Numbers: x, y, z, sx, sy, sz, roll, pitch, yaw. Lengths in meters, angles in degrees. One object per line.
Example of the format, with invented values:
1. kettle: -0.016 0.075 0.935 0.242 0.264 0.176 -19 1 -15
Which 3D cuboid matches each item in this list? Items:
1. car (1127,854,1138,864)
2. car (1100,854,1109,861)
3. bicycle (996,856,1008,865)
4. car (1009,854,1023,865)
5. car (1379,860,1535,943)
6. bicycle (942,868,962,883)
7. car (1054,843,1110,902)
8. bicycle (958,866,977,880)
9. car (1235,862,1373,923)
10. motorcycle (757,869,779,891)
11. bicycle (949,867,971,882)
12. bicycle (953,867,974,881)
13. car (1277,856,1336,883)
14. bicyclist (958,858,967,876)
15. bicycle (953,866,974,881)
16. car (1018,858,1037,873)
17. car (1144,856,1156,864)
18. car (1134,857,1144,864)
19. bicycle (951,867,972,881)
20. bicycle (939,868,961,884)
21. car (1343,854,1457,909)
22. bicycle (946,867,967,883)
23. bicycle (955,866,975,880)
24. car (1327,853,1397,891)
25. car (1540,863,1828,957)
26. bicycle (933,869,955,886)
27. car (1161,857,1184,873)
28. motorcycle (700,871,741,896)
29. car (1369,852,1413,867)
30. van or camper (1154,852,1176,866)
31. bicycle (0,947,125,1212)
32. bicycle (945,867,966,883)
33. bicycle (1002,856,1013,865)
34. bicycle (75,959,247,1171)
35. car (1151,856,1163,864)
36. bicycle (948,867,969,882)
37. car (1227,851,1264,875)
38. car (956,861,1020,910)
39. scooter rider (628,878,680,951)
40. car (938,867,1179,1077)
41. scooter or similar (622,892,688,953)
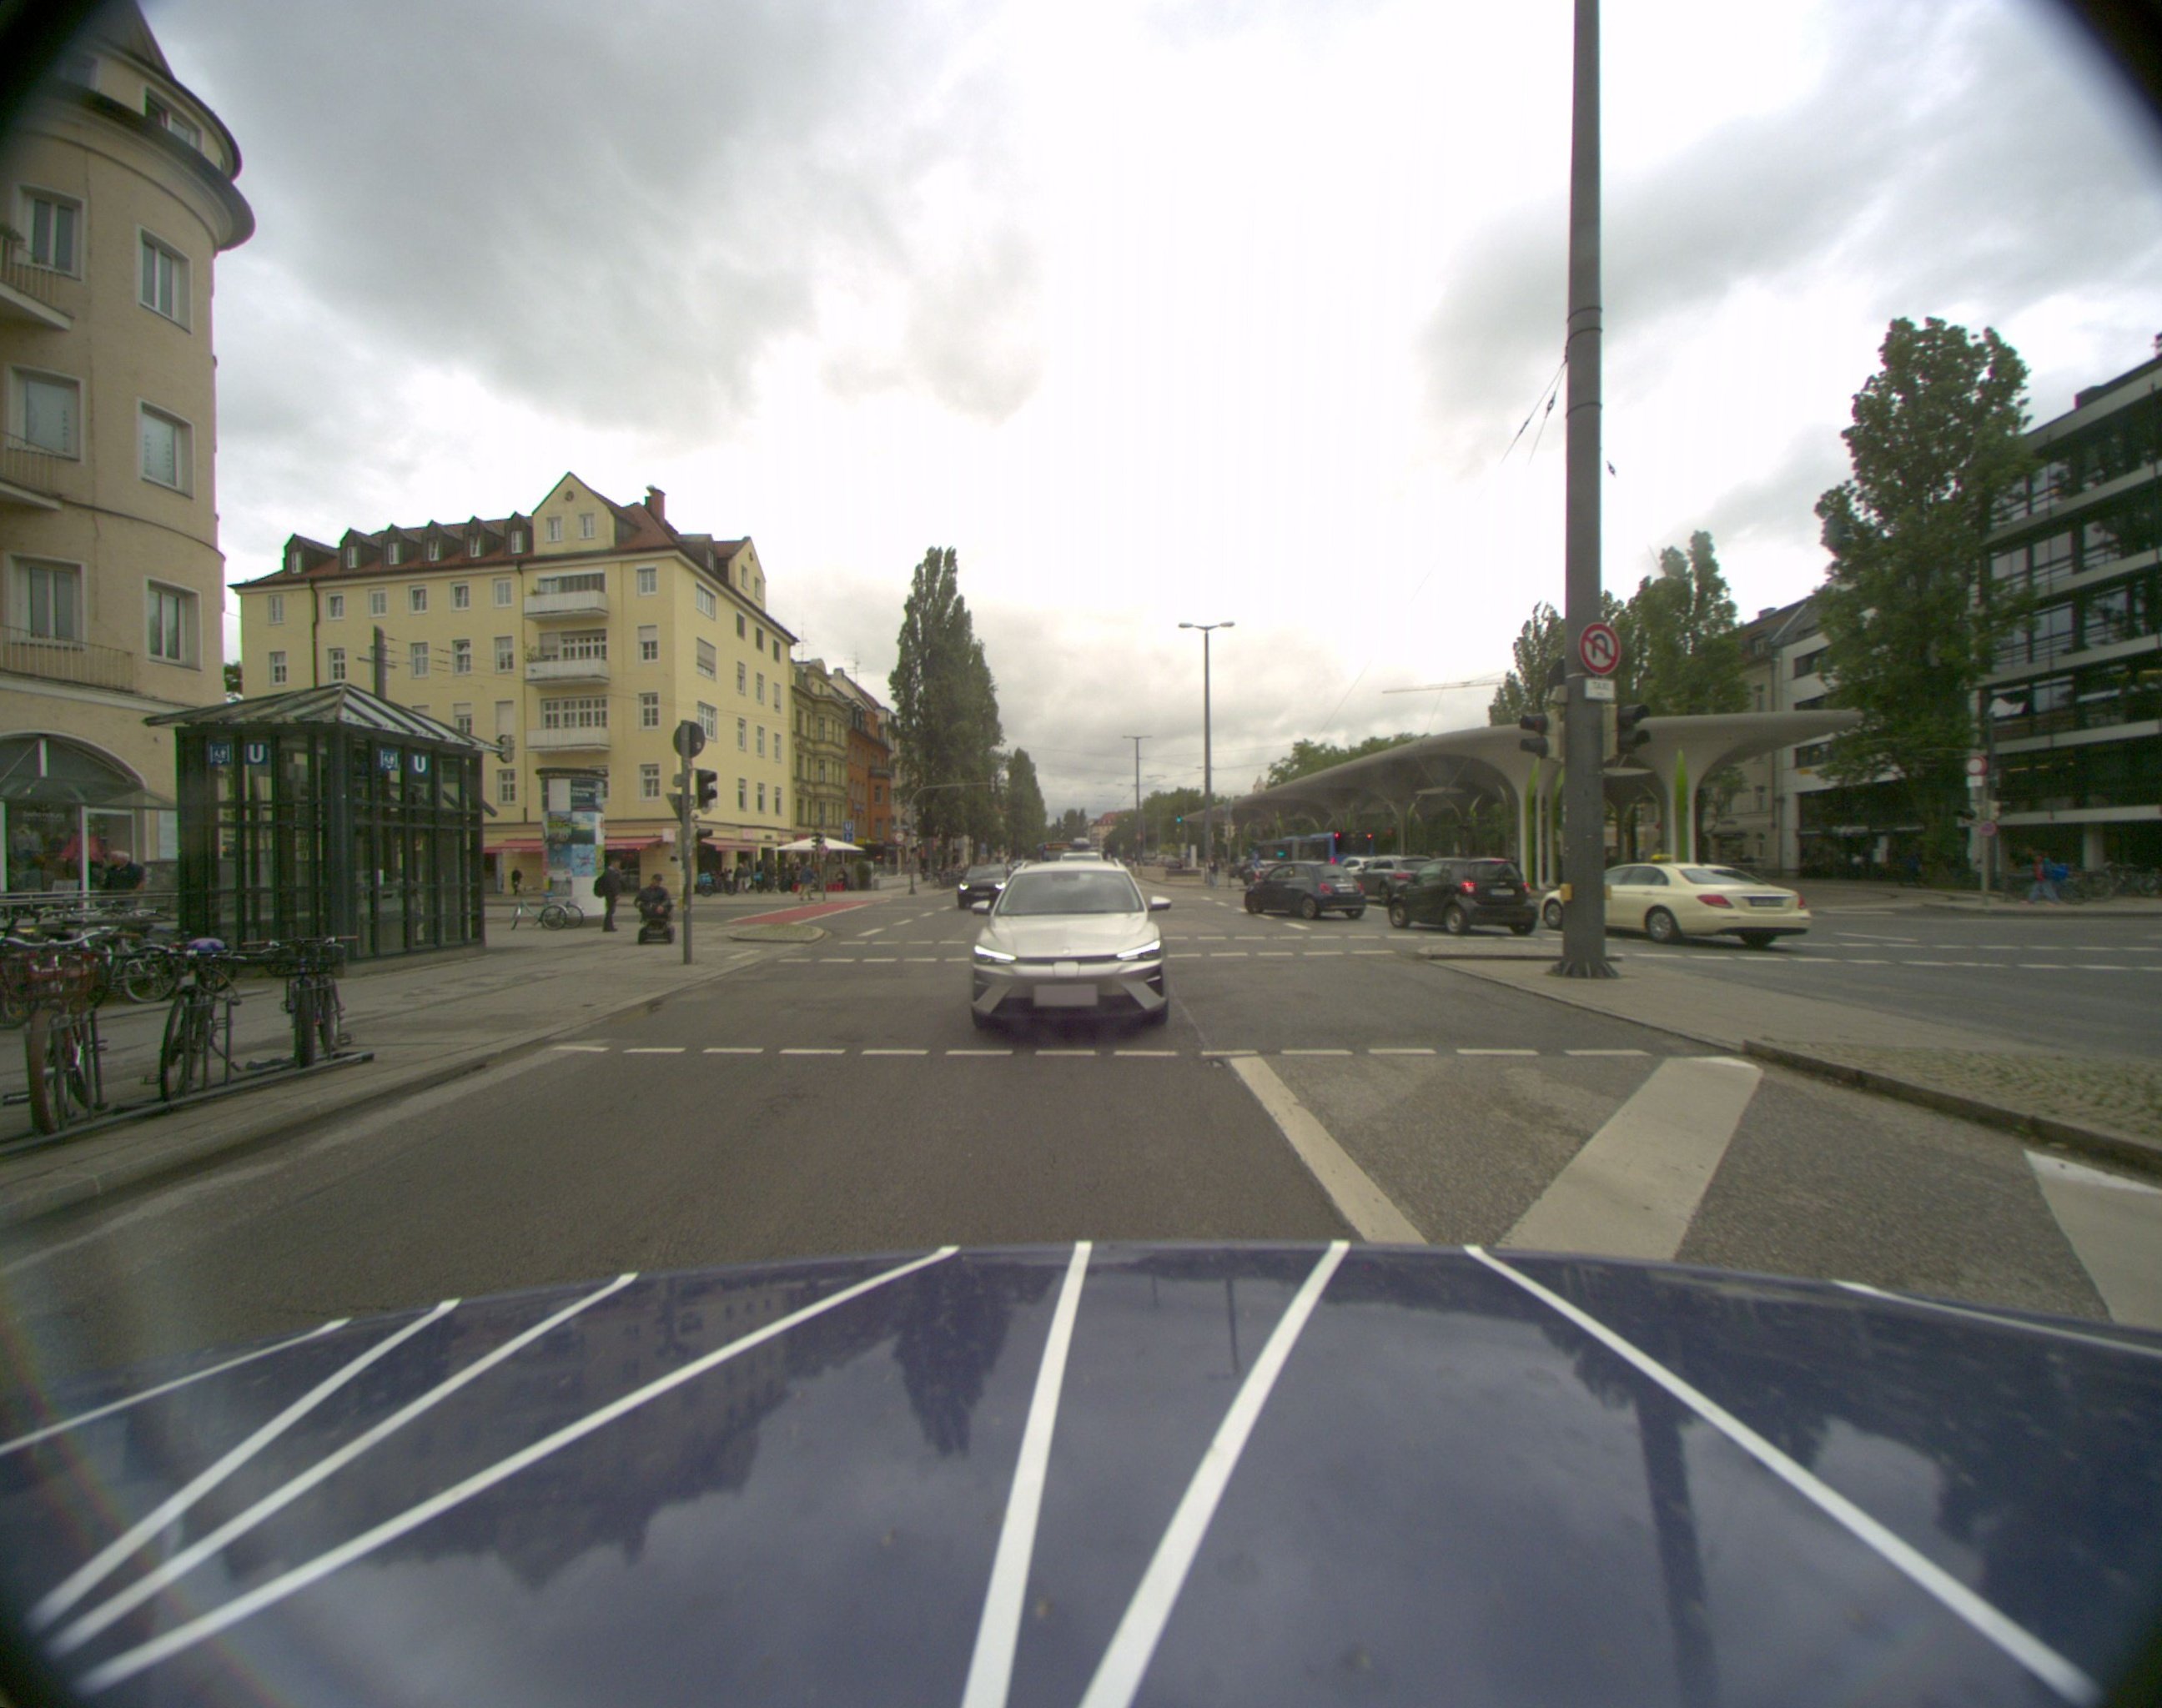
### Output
1. car: 10.048 0.966 148.969 1.911 1.829 3.868 -1 0 -1
2. car: 5.575 0.818 180.416 1.791 1.844 4.217 0 0 -3
3. bicycle: -9.971 0.824 96.133 1.740 1.096 0.360 0 0 35
4. car: -9.498 0.771 111.928 1.737 1.651 4.501 -1 0 -1
5. car: 7.653 0.899 15.708 1.508 1.525 2.835 -1 0 -10
6. bicycle: -8.452 1.397 49.784 0.349 0.990 1.837 -1 1 -44
7. car: 0.006 0.667 29.366 1.999 2.100 4.000 -1 0 -1
8. bicycle: -8.370 1.401 55.913 1.836 0.990 0.349 0 1 44
9. car: 5.825 0.953 20.208 1.553 1.437 3.532 1 -1 -26
10. motorcycle: -17.060 1.422 41.424 0.487 1.149 1.571 -1 0 0
11. bicycle: -8.365 1.396 52.422 1.836 0.990 0.349 0 1 40
12. bicycle: -8.336 1.396 53.760 1.836 0.990 0.349 0 1 40
13. car: 12.771 0.852 43.301 1.999 1.403 4.167 -1 0 -2
14. bicyclist: -10.628 1.176 68.232 0.681 1.594 0.939 -1 0 0
15. bicycle: -8.436 1.401 54.567 1.836 0.990 0.349 0 1 40
16. car: -5.816 1.275 83.355 1.780 1.515 3.969 -1 1 0
17. car: 14.046 1.164 155.500 1.999 1.561 4.101 -1 0 -1
18. car: 13.500 1.544 176.570 1.893 1.521 4.000 0 0 0
19. bicycle: -8.346 1.395 53.087 1.836 0.990 0.349 0 1 40
20. bicycle: -8.330 1.390 48.277 1.836 0.990 0.349 0 1 44
21. car: 10.595 0.858 25.623 1.748 1.660 4.731 -1 0 -1
22. bicycle: -8.355 1.394 51.069 1.836 0.990 0.349 0 1 43
23. bicycle: -8.440 1.402 55.222 1.836 0.990 0.349 0 1 40
24. car: 12.807 0.785 34.879 1.703 1.586 3.999 -1 0 -1
25. car: 10.944 0.916 14.349 1.769 1.413 4.639 1 0 1
26. bicycle: -8.326 1.413 46.076 1.836 0.990 0.349 0 1 44
27. car: 9.190 1.129 76.382 1.669 1.499 4.281 2 -1 -2
28. motorcycle: -17.821 1.446 37.547 1.769 1.193 0.541 -1 1 -30
29. car: 39.177 0.689 96.051 4.923 1.936 1.872 -1 0 10
30. van or camper: 10.754 0.616 97.458 1.933 1.815 5.439 -1 0 -2
31. bicycle: -6.175 1.233 4.442 1.800 1.191 0.560 -1 0 43
32. bicycle: -8.341 1.392 50.352 1.836 0.990 0.349 0 1 43
33. bicycle: -9.396 0.856 96.758 0.360 1.096 1.740 -1 0 -44
34. bicycle: -6.092 1.312 5.103 0.500 1.022 1.597 -1 0 -42
35. car: 14.471 1.061 145.380 1.864 1.517 4.232 0 0 0
36. bicycle: -8.357 1.395 51.735 1.836 0.990 0.349 0 1 43
37. car: 11.761 0.652 54.543 1.787 1.652 4.000 -1 0 0
38. car: -3.275 1.071 27.414 1.780 1.495 3.969 -3 1 0
39. scooter rider: -8.350 1.166 14.885 0.703 1.381 0.643 -1 0 -13
40. car: -0.129 0.957 8.337 1.812 1.496 4.952 -2 0 1
41. scooter or similar: -8.353 1.324 14.956 0.778 1.069 1.255 -1 0 -12
